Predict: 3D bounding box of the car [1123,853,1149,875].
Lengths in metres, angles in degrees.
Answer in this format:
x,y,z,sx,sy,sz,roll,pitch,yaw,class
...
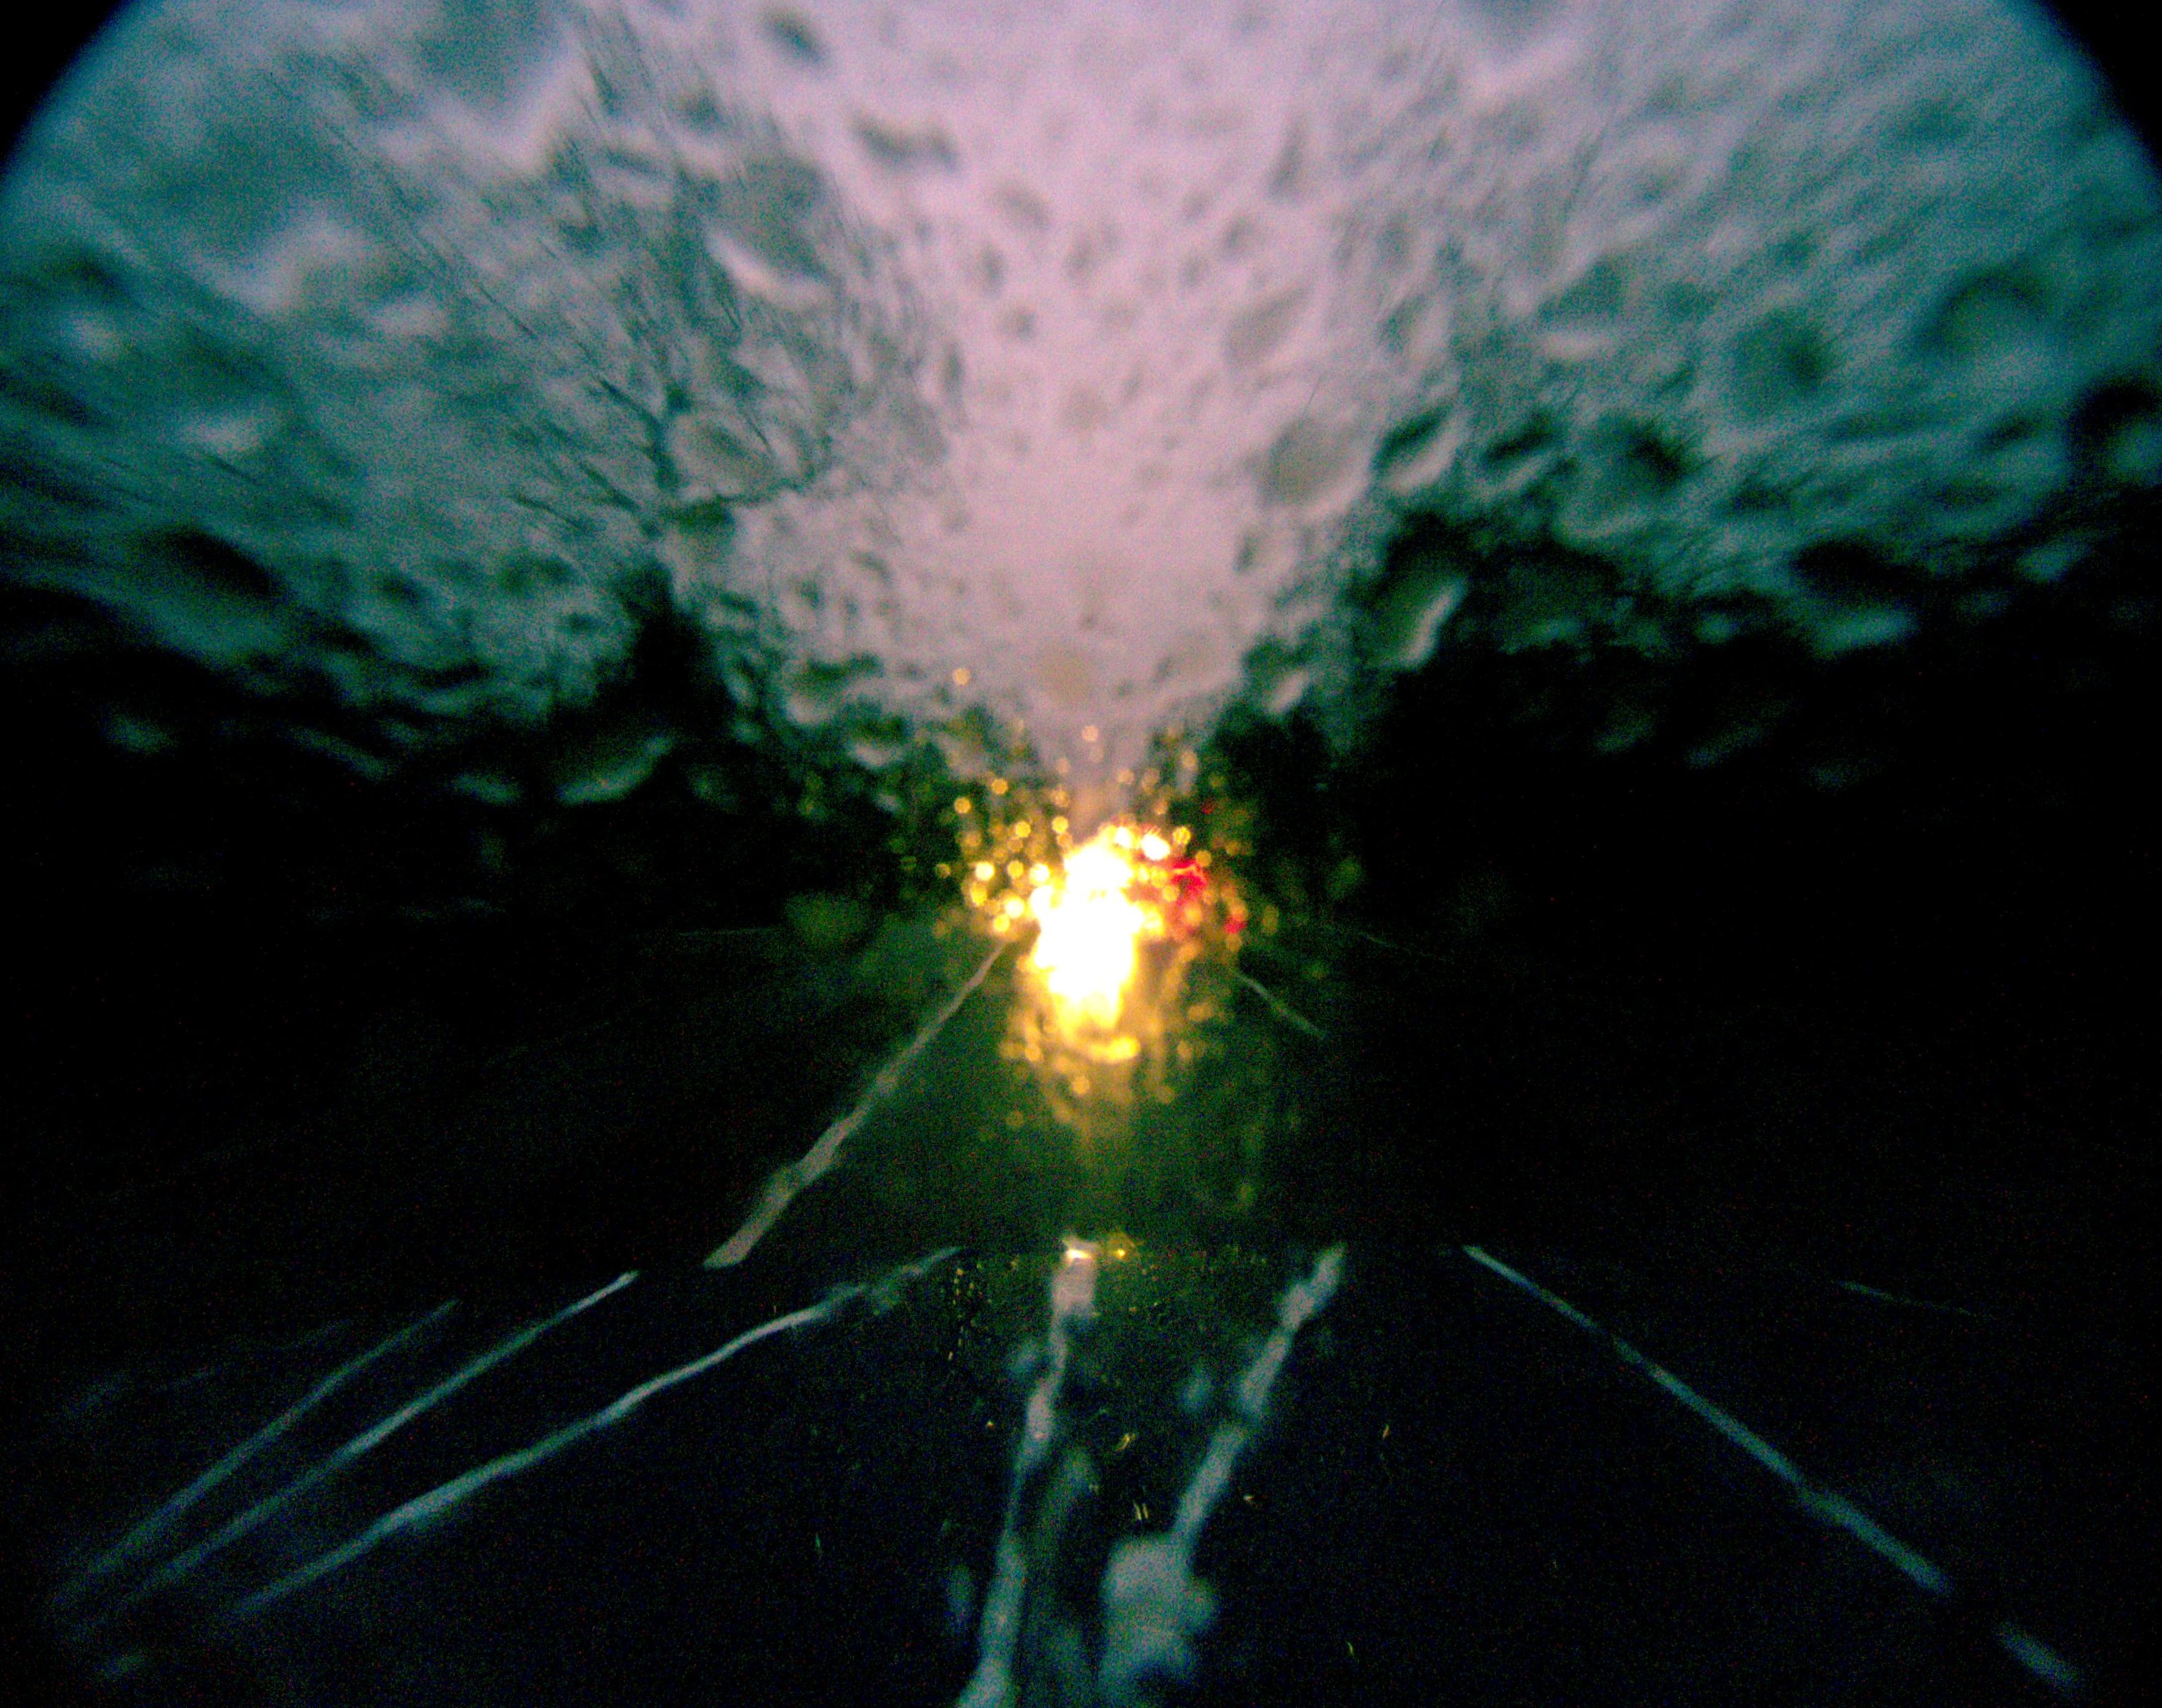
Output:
x,y,z,sx,sy,sz,roll,pitch,yaw,class
4.472,0.781,62.560,1.922,1.599,5.016,-1,1,2,car

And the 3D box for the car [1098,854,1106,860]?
x,y,z,sx,sy,sz,roll,pitch,yaw,class
5.324,0.838,194.564,1.979,1.559,4.928,0,0,3,car

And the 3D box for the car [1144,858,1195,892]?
x,y,z,sx,sy,sz,roll,pitch,yaw,class
3.997,0.905,35.091,1.873,1.414,4.387,-1,0,1,car

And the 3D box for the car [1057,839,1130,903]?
x,y,z,sx,sy,sz,roll,pitch,yaw,class
0.532,0.589,30.138,2.542,2.213,6.169,-2,0,2,car

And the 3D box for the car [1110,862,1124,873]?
x,y,z,sx,sy,sz,roll,pitch,yaw,class
4.698,1.754,100.322,1.695,1.411,4.000,-1,0,1,car
